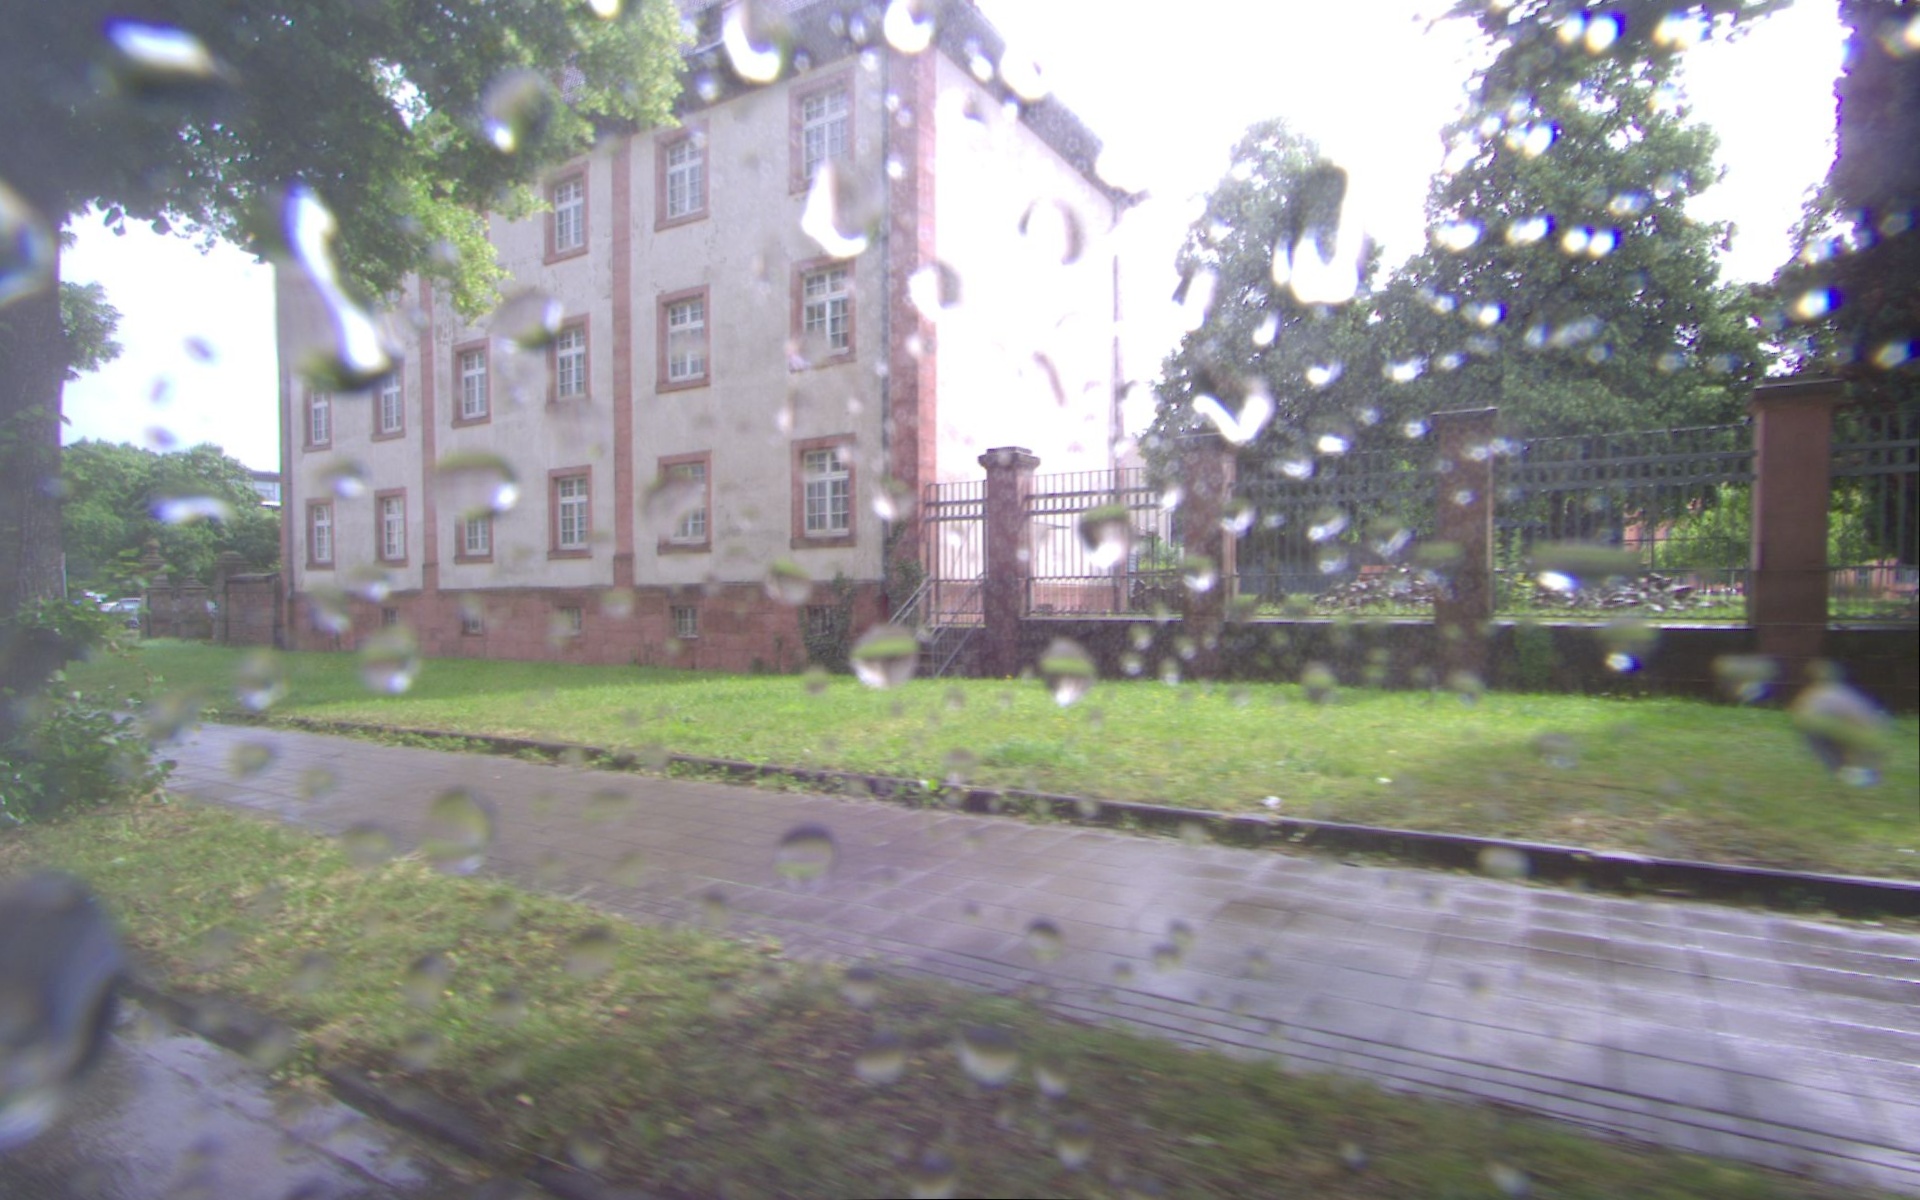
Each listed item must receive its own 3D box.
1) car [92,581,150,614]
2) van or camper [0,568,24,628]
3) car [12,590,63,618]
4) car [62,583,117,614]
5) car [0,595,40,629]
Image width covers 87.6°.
[{"bbox_3d":[-55.864,-0.151,66.660,3.948,2.042,1.986,0,3,36],"label":"car"},{"bbox_3d":[-43.443,-0.067,42.471,2.136,2.630,5.023,0,1,31],"label":"van or camper"},{"bbox_3d":[-65.778,0.271,71.385,3.760,1.883,1.860,0,3,36],"label":"car"},{"bbox_3d":[-60.297,-0.125,69.357,3.948,2.042,1.986,0,3,36],"label":"car"},{"bbox_3d":[-51.614,0.636,54.397,3.822,1.707,1.734,0,3,39],"label":"car"}]
